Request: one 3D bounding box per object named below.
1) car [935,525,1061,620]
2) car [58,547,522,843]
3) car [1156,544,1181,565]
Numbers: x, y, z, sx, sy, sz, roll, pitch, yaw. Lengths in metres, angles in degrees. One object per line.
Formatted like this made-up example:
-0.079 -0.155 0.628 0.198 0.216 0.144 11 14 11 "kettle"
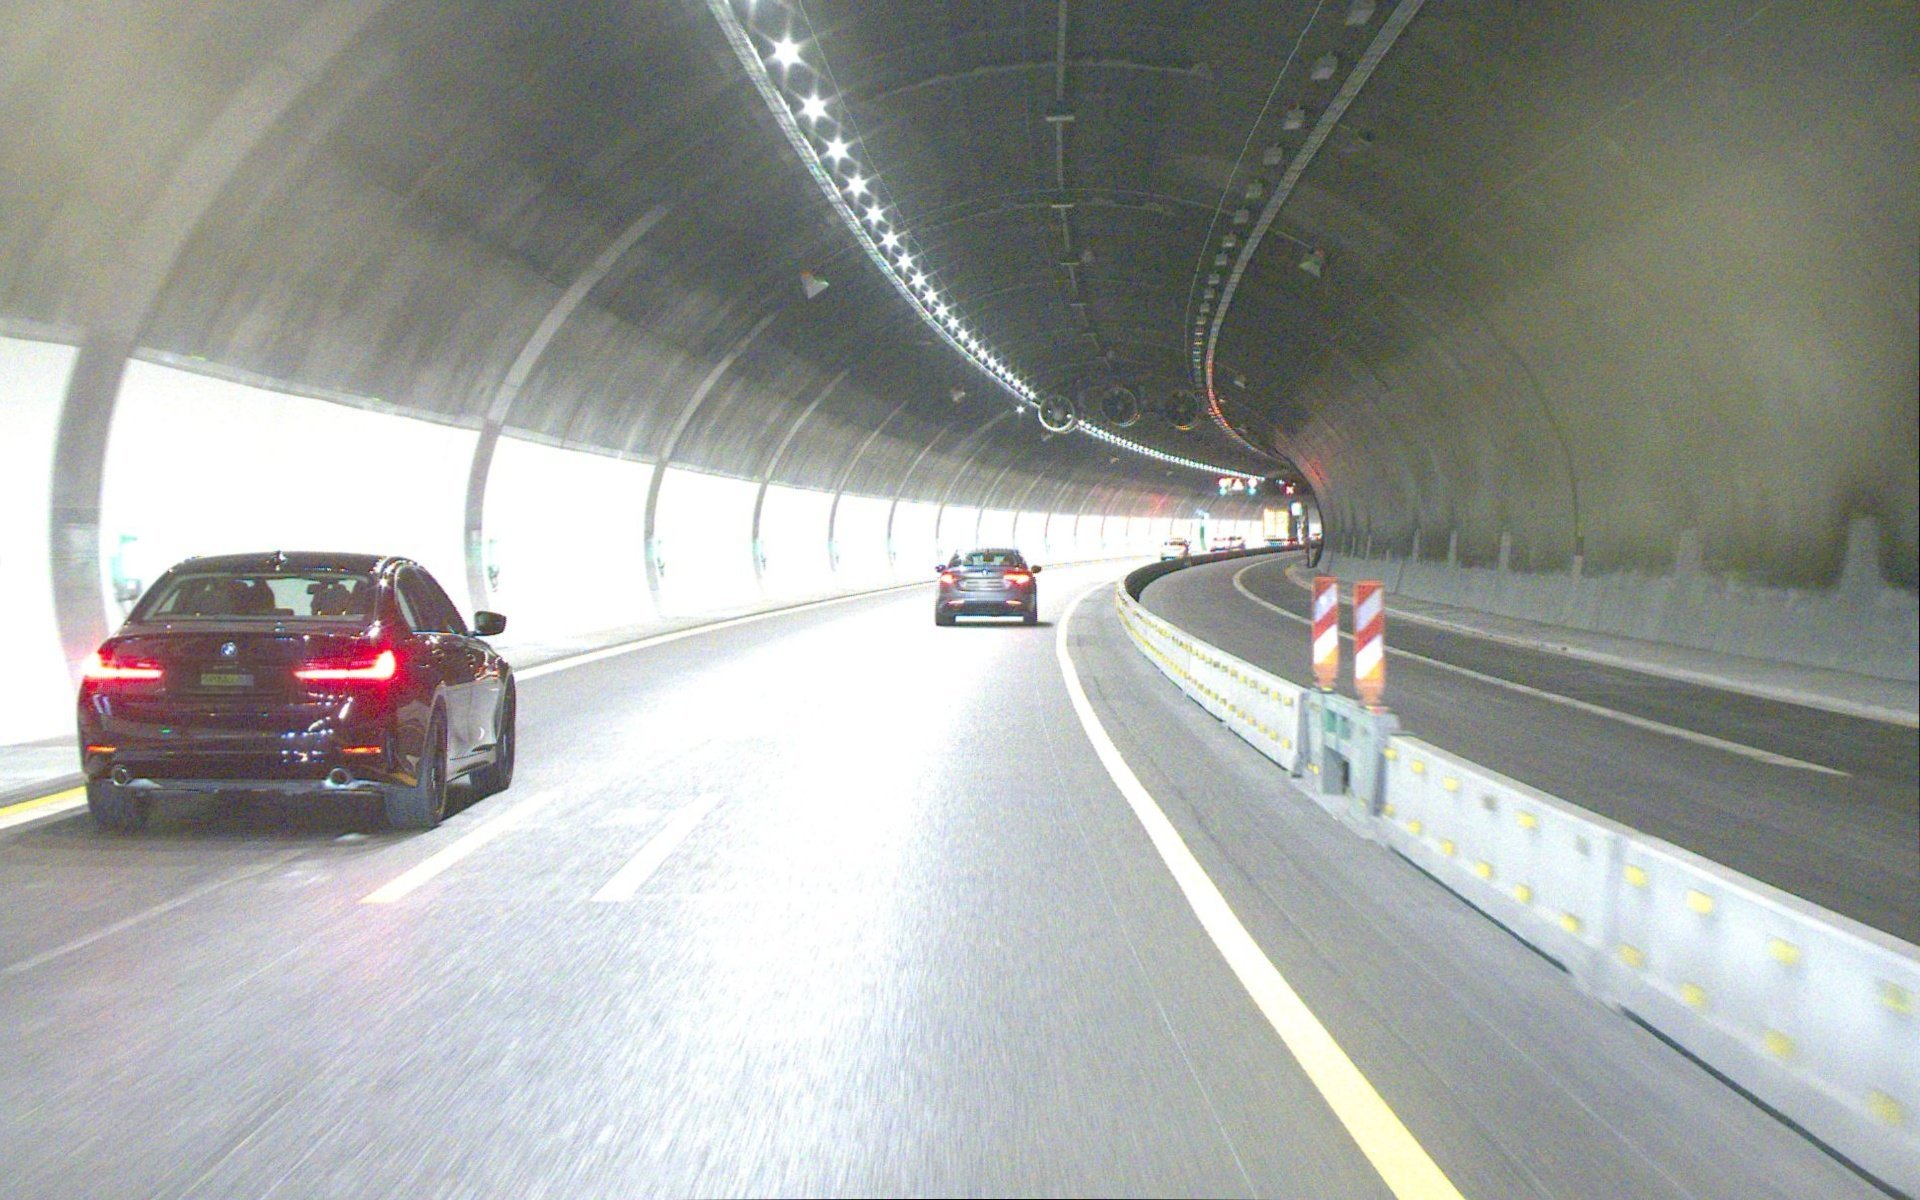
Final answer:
0.741 -0.533 63.878 2.141 1.700 4.000 0 1 4 "car"
-3.612 0.432 19.380 1.778 1.433 4.883 0 1 -1 "car"
13.620 -2.978 224.419 1.595 1.328 3.750 0 1 3 "car"
